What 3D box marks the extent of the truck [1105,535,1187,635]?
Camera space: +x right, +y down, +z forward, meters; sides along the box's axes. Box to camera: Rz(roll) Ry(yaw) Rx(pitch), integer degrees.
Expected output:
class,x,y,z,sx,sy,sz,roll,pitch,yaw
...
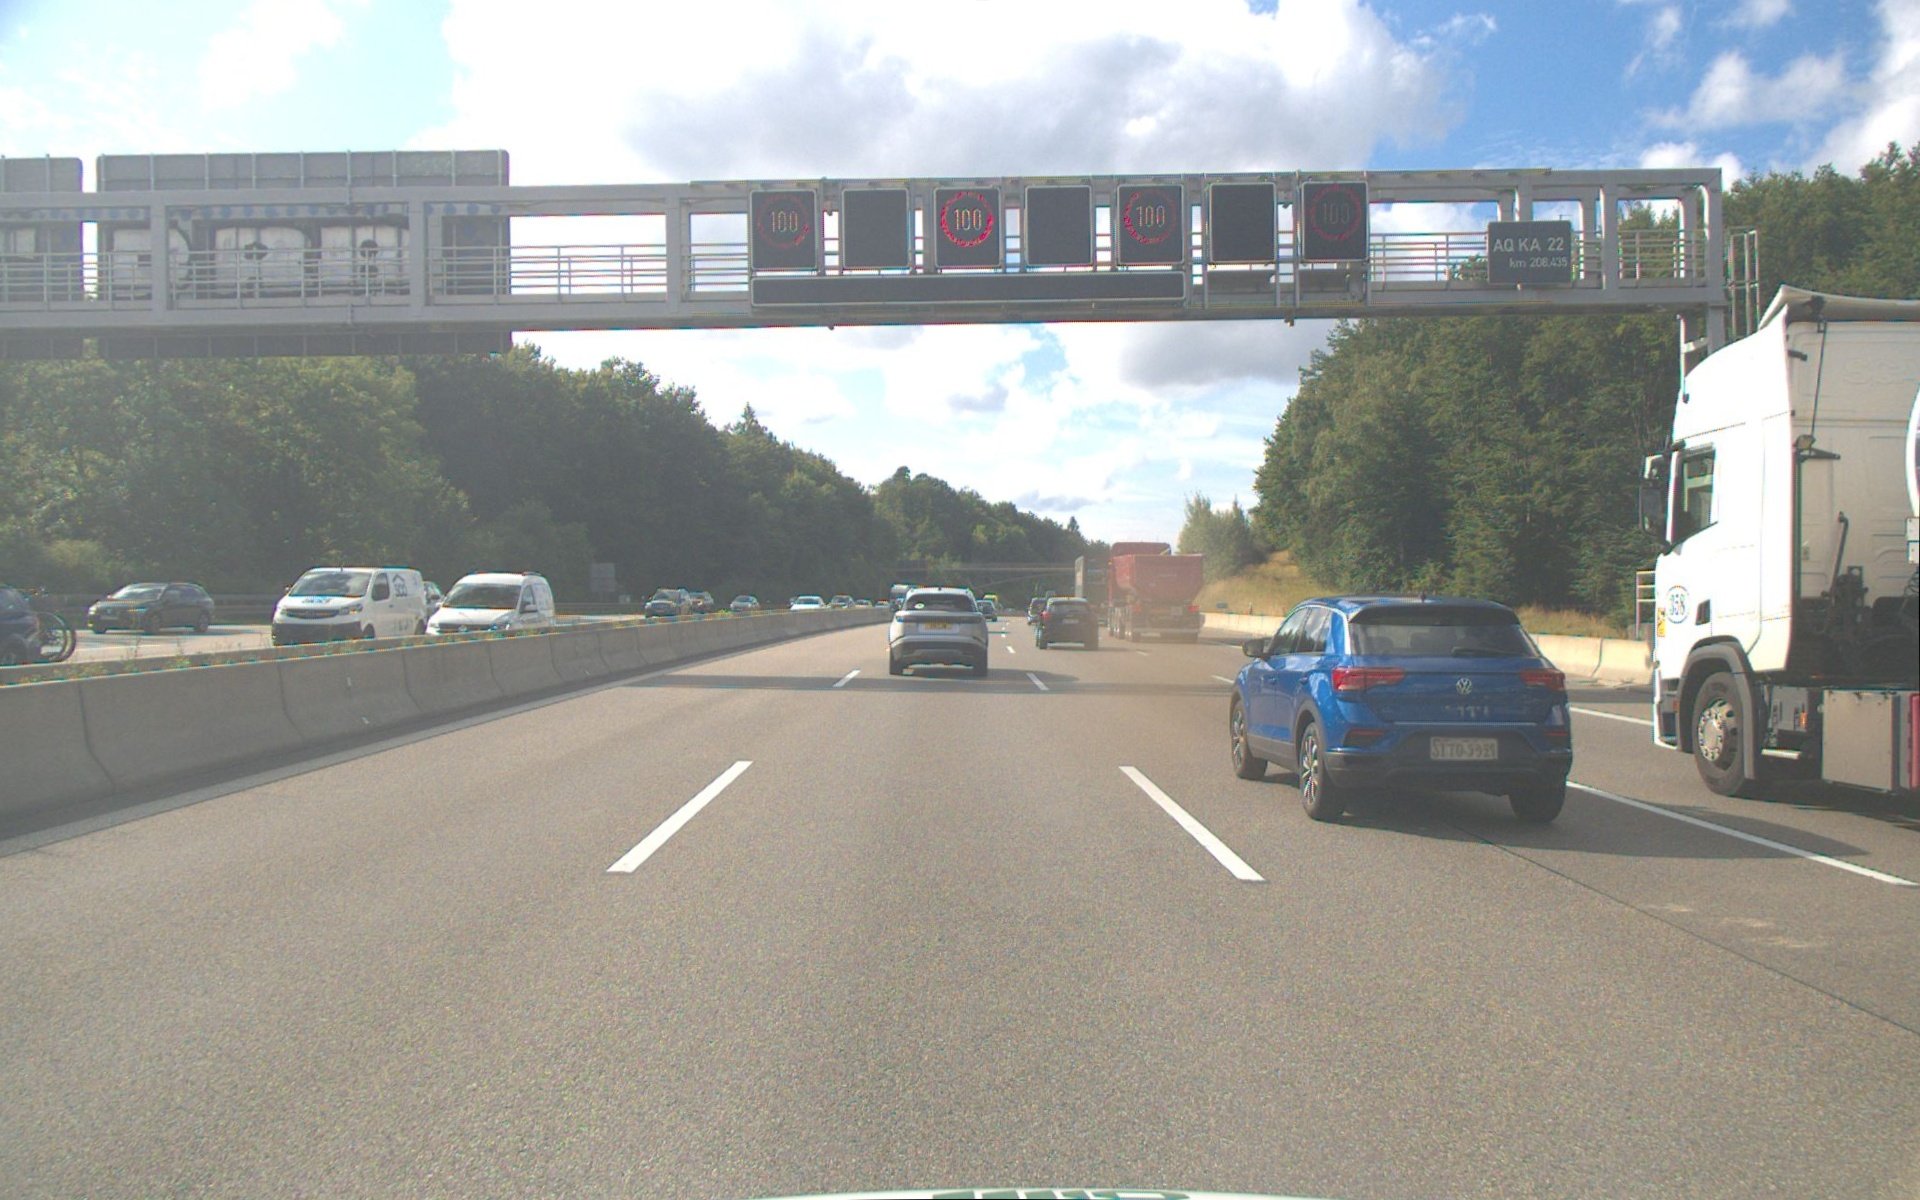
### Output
class,x,y,z,sx,sy,sz,roll,pitch,yaw
truck,7.377,-0.584,66.294,2.654,3.784,5.818,1,0,1

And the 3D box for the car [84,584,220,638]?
class,x,y,z,sx,sy,sz,roll,pitch,yaw
car,-23.265,0.300,47.823,1.667,1.466,4.707,1,0,-1

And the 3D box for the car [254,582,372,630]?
class,x,y,z,sx,sy,sz,roll,pitch,yaw
car,-22.414,0.197,57.534,1.778,1.572,5.133,1,0,4

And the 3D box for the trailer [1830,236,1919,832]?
class,x,y,z,sx,sy,sz,roll,pitch,yaw
trailer,7.577,-0.406,5.821,2.595,3.833,11.857,0,0,-1

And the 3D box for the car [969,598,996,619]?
class,x,y,z,sx,sy,sz,roll,pitch,yaw
car,1.622,0.605,116.212,1.784,1.483,4.001,1,0,2

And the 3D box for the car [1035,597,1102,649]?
class,x,y,z,sx,sy,sz,roll,pitch,yaw
car,3.235,0.654,49.987,1.785,1.483,4.000,1,0,1

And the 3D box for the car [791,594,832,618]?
class,x,y,z,sx,sy,sz,roll,pitch,yaw
car,-8.654,0.326,96.905,1.687,1.333,4.883,1,0,3

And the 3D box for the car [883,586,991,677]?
class,x,y,z,sx,sy,sz,roll,pitch,yaw
car,-0.400,0.580,33.116,1.965,1.644,5.301,1,0,1

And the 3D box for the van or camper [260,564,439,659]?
class,x,y,z,sx,sy,sz,roll,pitch,yaw
van or camper,-13.137,0.228,35.961,1.823,1.882,5.156,1,0,2

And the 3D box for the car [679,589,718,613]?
class,x,y,z,sx,sy,sz,roll,pitch,yaw
car,-19.413,0.091,122.803,1.888,1.746,4.425,1,0,4

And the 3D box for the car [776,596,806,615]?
class,x,y,z,sx,sy,sz,roll,pitch,yaw
car,-16.080,0.498,157.448,1.887,1.746,4.426,1,0,6

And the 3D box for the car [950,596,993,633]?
class,x,y,z,sx,sy,sz,roll,pitch,yaw
car,0.513,0.615,72.399,1.785,1.573,4.000,1,0,1

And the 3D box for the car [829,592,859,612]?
class,x,y,z,sx,sy,sz,roll,pitch,yaw
car,-9.507,0.158,135.824,1.685,1.505,4.633,1,0,5

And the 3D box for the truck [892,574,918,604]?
class,x,y,z,sx,sy,sz,roll,pitch,yaw
truck,-7.654,-1.518,231.288,2.649,4.139,6.602,1,0,6

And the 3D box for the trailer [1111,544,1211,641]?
class,x,y,z,sx,sy,sz,roll,pitch,yaw
trailer,7.316,-0.277,61.417,2.654,3.288,9.733,1,0,1

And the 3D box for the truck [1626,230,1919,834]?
class,x,y,z,sx,sy,sz,roll,pitch,yaw
truck,7.454,-0.448,12.118,2.595,3.890,6.080,0,0,-1

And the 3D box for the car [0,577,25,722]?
class,x,y,z,sx,sy,sz,roll,pitch,yaw
car,-10.052,0.471,14.045,1.757,1.399,4.547,1,0,-2

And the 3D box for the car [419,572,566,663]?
class,x,y,z,sx,sy,sz,roll,pitch,yaw
car,-9.408,0.324,33.638,1.733,1.678,4.519,1,0,-1

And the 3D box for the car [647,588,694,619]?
class,x,y,z,sx,sy,sz,roll,pitch,yaw
car,-15.899,0.178,90.931,1.631,1.668,4.480,1,0,2

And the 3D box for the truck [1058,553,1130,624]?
class,x,y,z,sx,sy,sz,roll,pitch,yaw
truck,7.911,-0.677,98.969,3.056,4.003,10.407,1,0,-2

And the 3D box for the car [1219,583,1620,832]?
class,x,y,z,sx,sy,sz,roll,pitch,yaw
car,3.276,0.679,12.748,1.737,1.557,4.456,1,0,-2

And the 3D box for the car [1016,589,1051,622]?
class,x,y,z,sx,sy,sz,roll,pitch,yaw
car,4.315,0.318,97.806,1.855,1.889,4.100,1,0,0

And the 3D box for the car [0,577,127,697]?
class,x,y,z,sx,sy,sz,roll,pitch,yaw
car,-13.336,0.463,22.444,1.663,1.555,4.684,1,0,0

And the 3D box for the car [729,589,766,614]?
class,x,y,z,sx,sy,sz,roll,pitch,yaw
car,-15.266,0.120,118.977,1.888,1.746,4.424,1,0,3
